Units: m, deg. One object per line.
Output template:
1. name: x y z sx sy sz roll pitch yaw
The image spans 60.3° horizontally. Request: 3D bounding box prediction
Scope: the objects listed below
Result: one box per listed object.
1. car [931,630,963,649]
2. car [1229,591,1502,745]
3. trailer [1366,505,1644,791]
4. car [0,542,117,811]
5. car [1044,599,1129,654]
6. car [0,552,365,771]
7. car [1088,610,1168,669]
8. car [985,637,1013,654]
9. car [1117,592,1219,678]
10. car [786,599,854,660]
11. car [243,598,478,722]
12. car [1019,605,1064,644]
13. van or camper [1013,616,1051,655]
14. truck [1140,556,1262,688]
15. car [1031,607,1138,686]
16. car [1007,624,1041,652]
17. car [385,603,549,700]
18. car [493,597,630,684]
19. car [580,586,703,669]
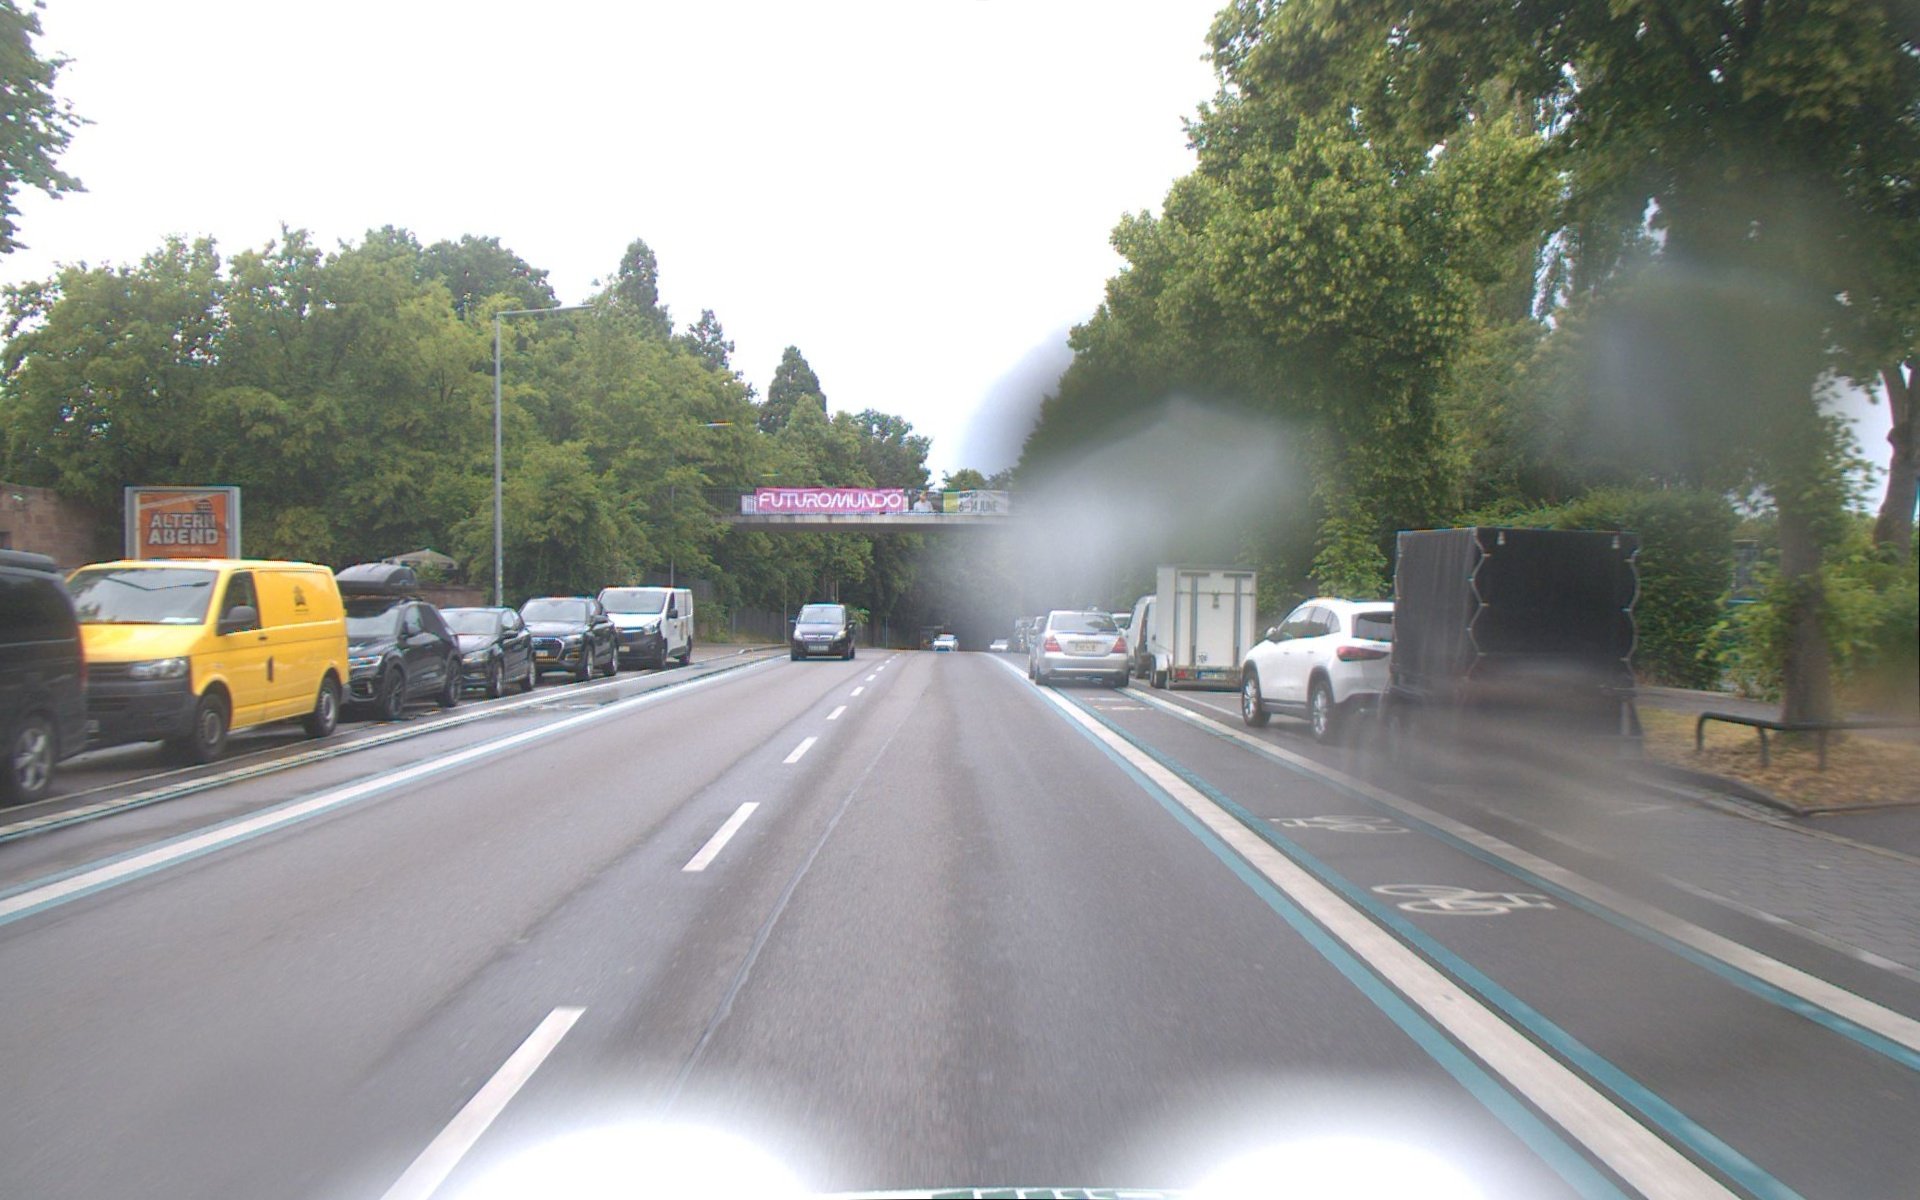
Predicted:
1. car: -1.069 3.283 137.518 1.929 1.579 3.873 1 -1 11
2. car: 4.677 0.735 19.758 1.722 1.613 4.407 1 0 -7
3. trailer: 4.919 0.402 15.378 1.319 2.309 3.563 1 0 -1
4. car: -7.881 0.573 11.100 1.838 1.954 5.203 -1 0 -1
5. car: 3.824 0.790 50.610 1.954 1.587 4.639 1 0 -4
6. car: -8.036 0.545 17.250 1.953 1.946 4.843 0 0 -1
7. car: 4.424 1.010 44.076 1.626 1.451 4.617 1 0 0
8. car: 3.904 4.590 166.768 1.758 1.604 4.104 0 -2 17
9. car: 4.661 0.749 37.599 1.687 1.822 4.344 1 0 -1
10. car: -4.047 0.833 48.376 1.676 1.646 4.149 -1 0 -1
11. car: -8.054 0.743 22.628 1.674 1.530 4.150 0 0 0
12. car: 3.635 1.140 74.318 1.679 1.647 4.258 1 -2 -2
13. van or camper: 5.305 2.614 121.119 2.268 2.711 6.385 1 -2 7
14. truck: 4.603 0.410 32.082 1.684 2.374 3.999 1 0 -1
15. car: 2.405 0.869 32.961 1.686 1.422 4.589 1 0 -1
16. car: 3.450 2.093 89.497 1.738 1.372 4.466 2 -2 1
17. car: -8.117 0.798 27.556 1.575 1.471 4.037 0 0 -1
18. car: -8.119 0.774 34.125 1.787 1.644 4.661 0 0 -1
19. car: -7.942 0.643 41.756 1.937 1.948 5.228 0 0 2
